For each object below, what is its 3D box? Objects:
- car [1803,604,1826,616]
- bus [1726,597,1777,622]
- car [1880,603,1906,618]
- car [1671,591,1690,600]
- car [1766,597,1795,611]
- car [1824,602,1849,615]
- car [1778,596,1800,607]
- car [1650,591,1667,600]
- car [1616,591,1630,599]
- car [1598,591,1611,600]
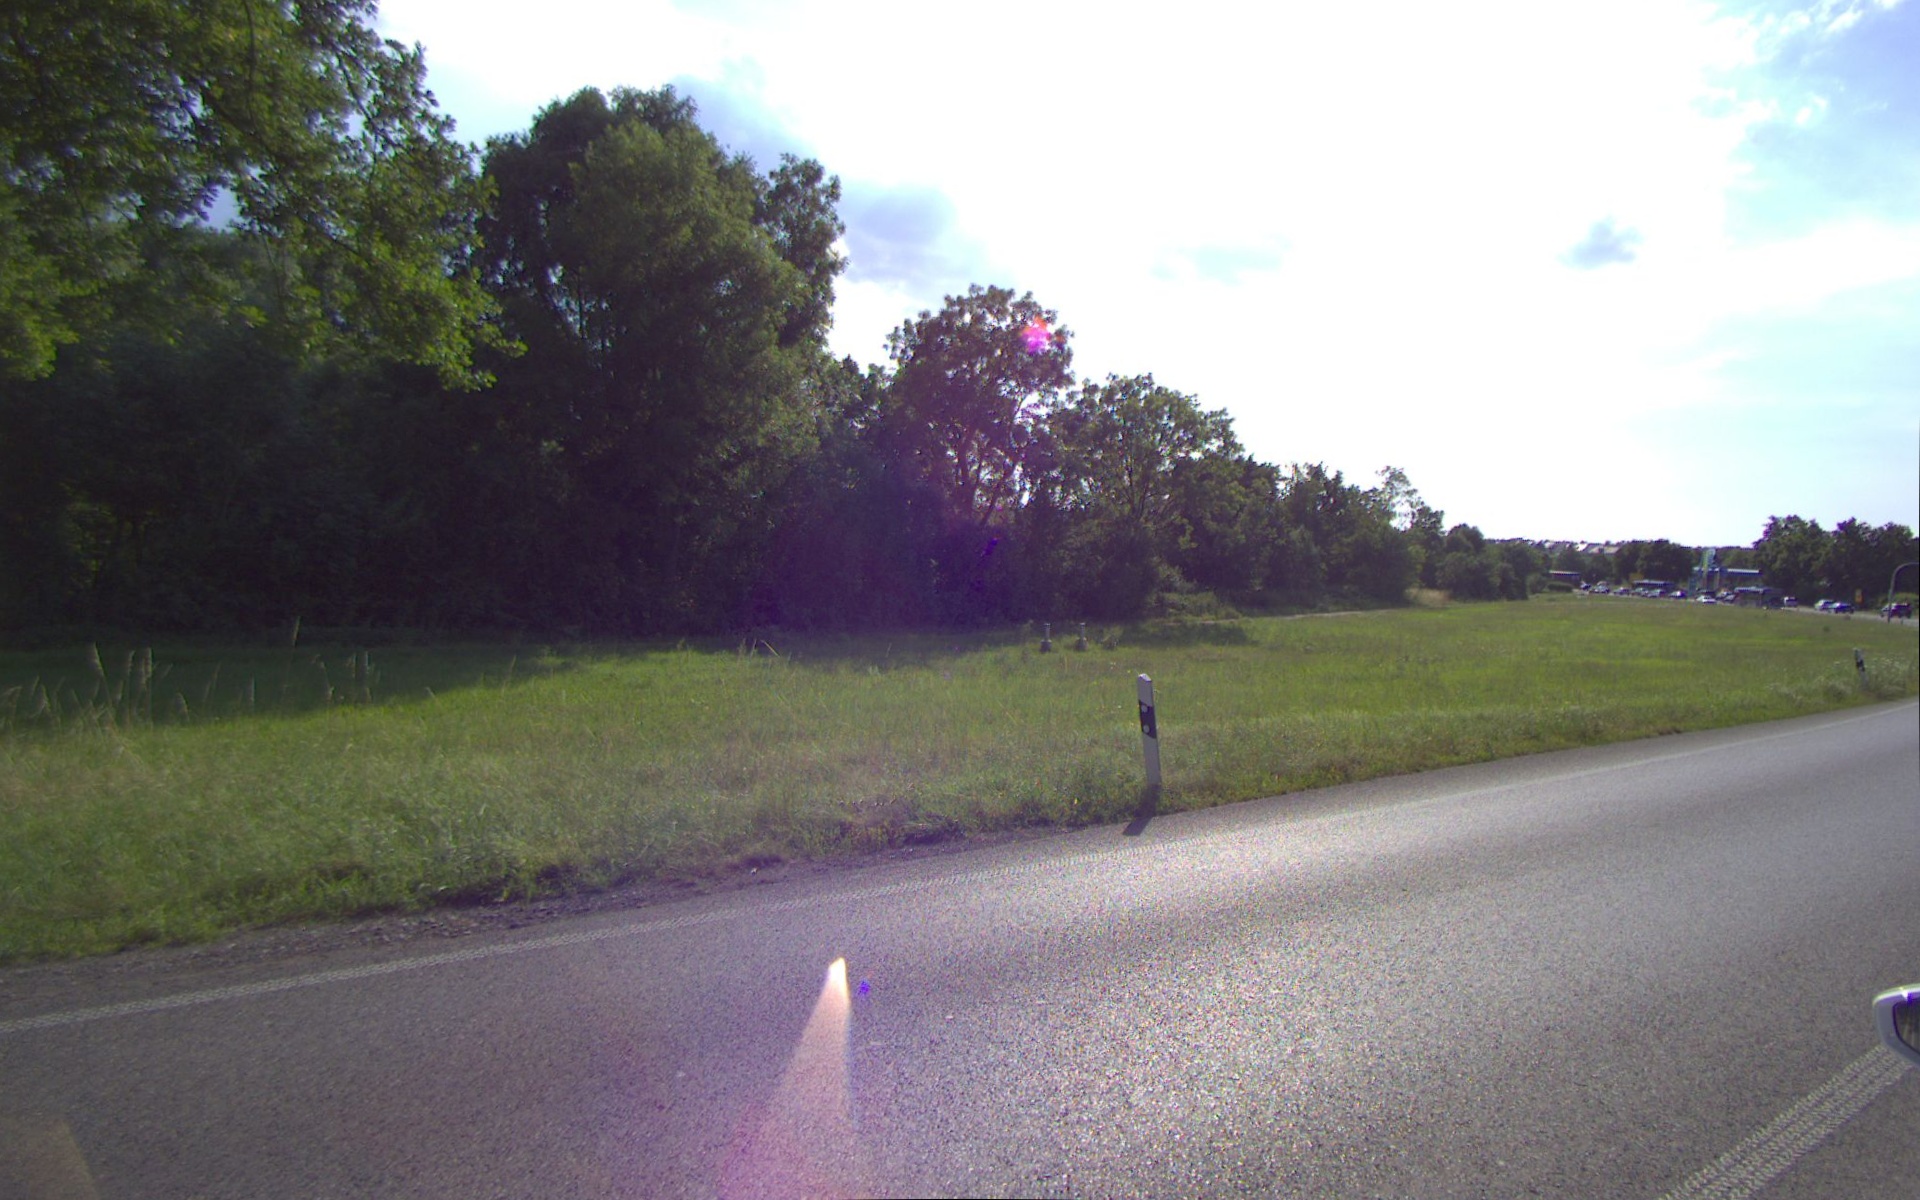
[{"bbox_3d":[121.589,1.389,142.906,1.653,1.579,3.866,2,0,29],"label":"car"},{"bbox_3d":[111.008,1.324,141.105,2.750,3.224,12.117,2,0,24],"label":"bus"},{"bbox_3d":[108.516,1.204,116.881,1.498,1.678,3.862,2,0,33],"label":"car"},{"bbox_3d":[135.789,-0.812,189.243,2.052,1.621,3.997,2,1,24],"label":"car"},{"bbox_3d":[98.485,0.482,120.605,1.813,1.678,3.996,2,0,26],"label":"car"},{"bbox_3d":[115.381,1.129,132.303,1.653,1.579,3.866,2,0,29],"label":"car"},{"bbox_3d":[129.099,0.218,156.427,1.946,1.678,3.866,2,0,29],"label":"car"},{"bbox_3d":[136.253,-0.853,195.950,1.852,1.621,3.997,2,1,24],"label":"car"},{"bbox_3d":[139.543,-0.987,211.503,1.852,1.621,3.997,2,1,24],"label":"car"},{"bbox_3d":[132.366,-0.962,206.338,1.813,1.678,3.996,2,0,26],"label":"car"}]
